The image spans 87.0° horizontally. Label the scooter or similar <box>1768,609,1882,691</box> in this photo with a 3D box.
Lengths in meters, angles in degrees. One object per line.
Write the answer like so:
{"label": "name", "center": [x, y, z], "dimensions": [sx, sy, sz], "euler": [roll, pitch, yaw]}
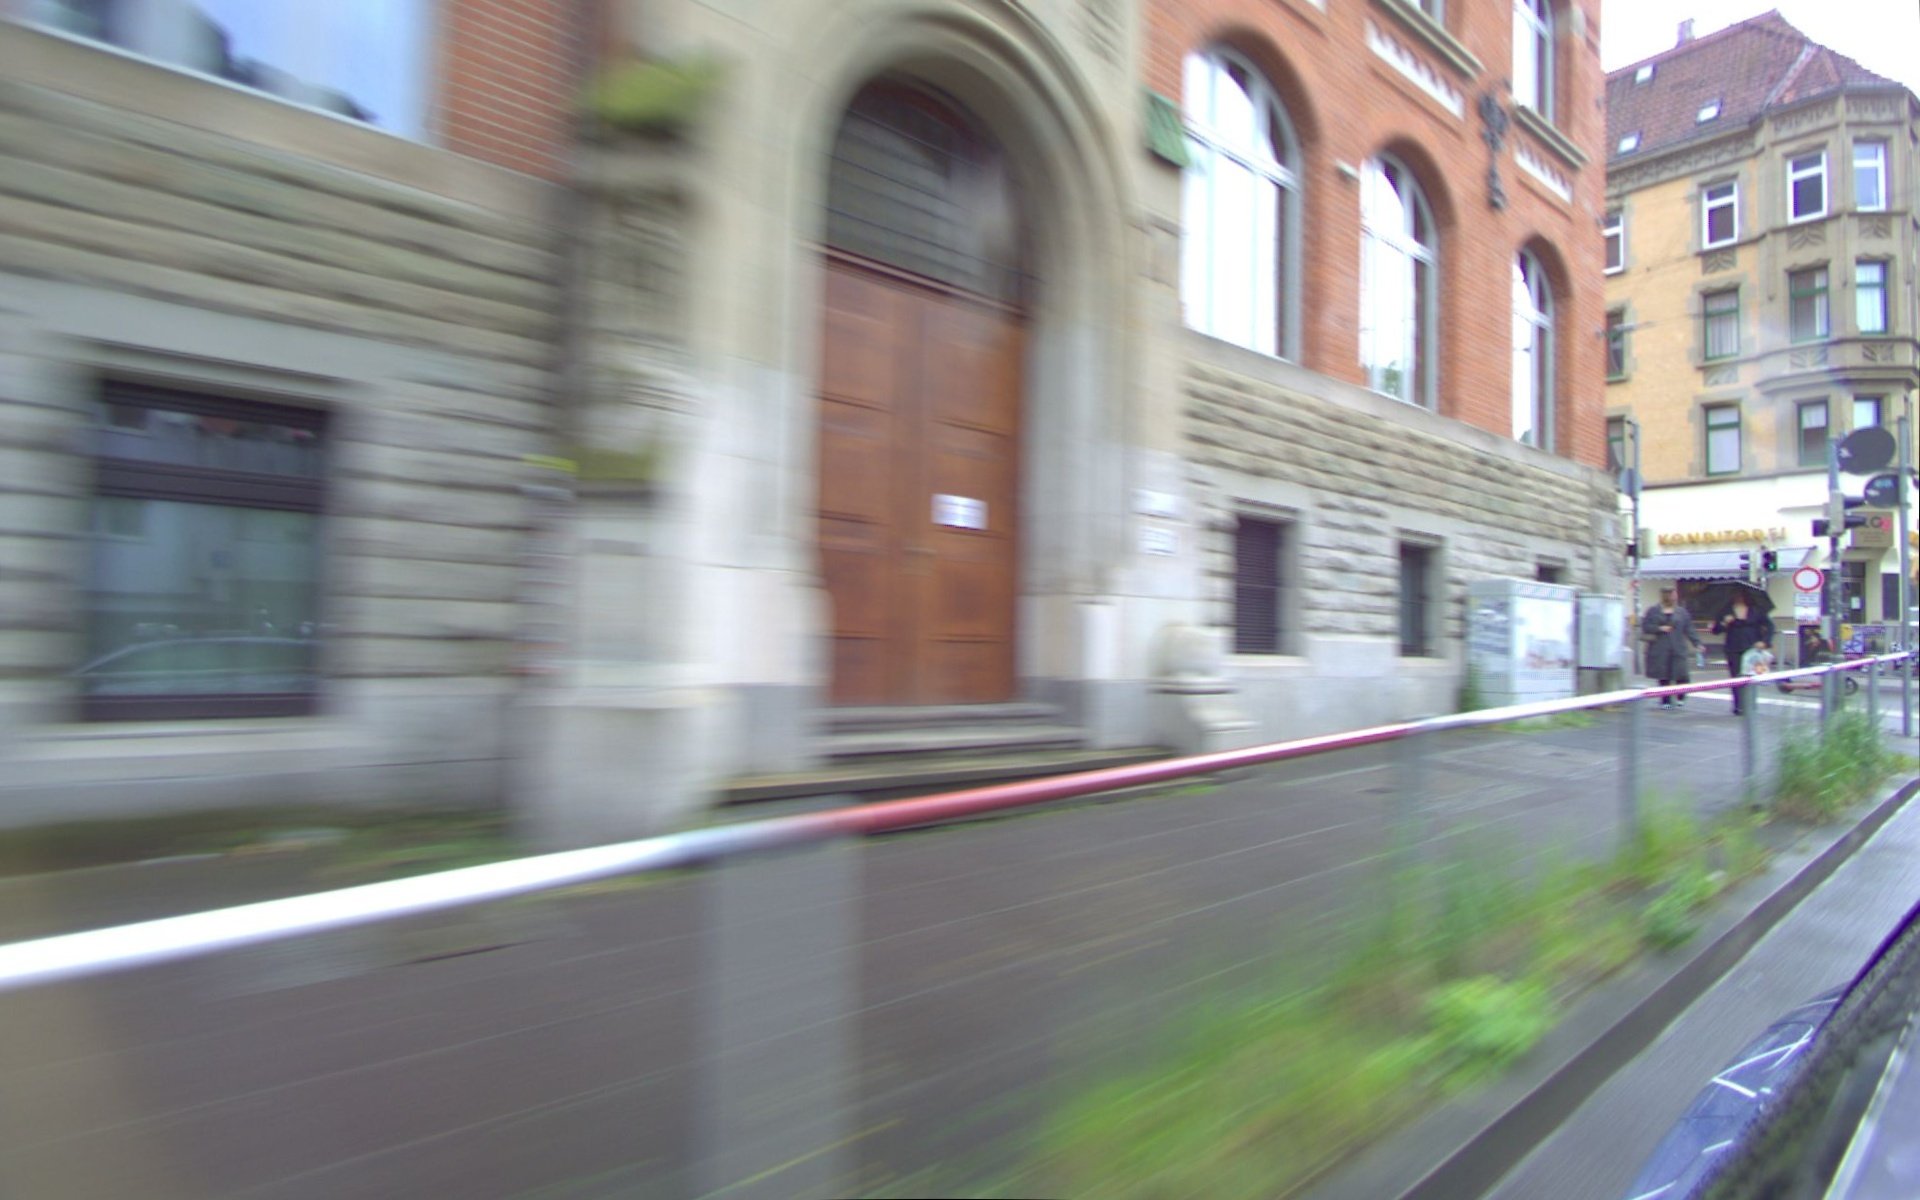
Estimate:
{"label": "scooter or similar", "center": [14.041, 0.787, 16.463], "dimensions": [0.624, 1.266, 1.253], "euler": [1, 0, -18]}

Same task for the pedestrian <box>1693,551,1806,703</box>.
{"label": "pedestrian", "center": [10.506, 0.339, 13.472], "dimensions": [1.054, 1.911, 0.960], "euler": [2, 0, -40]}

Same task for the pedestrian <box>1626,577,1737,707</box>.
{"label": "pedestrian", "center": [9.670, 0.535, 13.572], "dimensions": [1.054, 1.646, 0.960], "euler": [1, 0, -40]}
